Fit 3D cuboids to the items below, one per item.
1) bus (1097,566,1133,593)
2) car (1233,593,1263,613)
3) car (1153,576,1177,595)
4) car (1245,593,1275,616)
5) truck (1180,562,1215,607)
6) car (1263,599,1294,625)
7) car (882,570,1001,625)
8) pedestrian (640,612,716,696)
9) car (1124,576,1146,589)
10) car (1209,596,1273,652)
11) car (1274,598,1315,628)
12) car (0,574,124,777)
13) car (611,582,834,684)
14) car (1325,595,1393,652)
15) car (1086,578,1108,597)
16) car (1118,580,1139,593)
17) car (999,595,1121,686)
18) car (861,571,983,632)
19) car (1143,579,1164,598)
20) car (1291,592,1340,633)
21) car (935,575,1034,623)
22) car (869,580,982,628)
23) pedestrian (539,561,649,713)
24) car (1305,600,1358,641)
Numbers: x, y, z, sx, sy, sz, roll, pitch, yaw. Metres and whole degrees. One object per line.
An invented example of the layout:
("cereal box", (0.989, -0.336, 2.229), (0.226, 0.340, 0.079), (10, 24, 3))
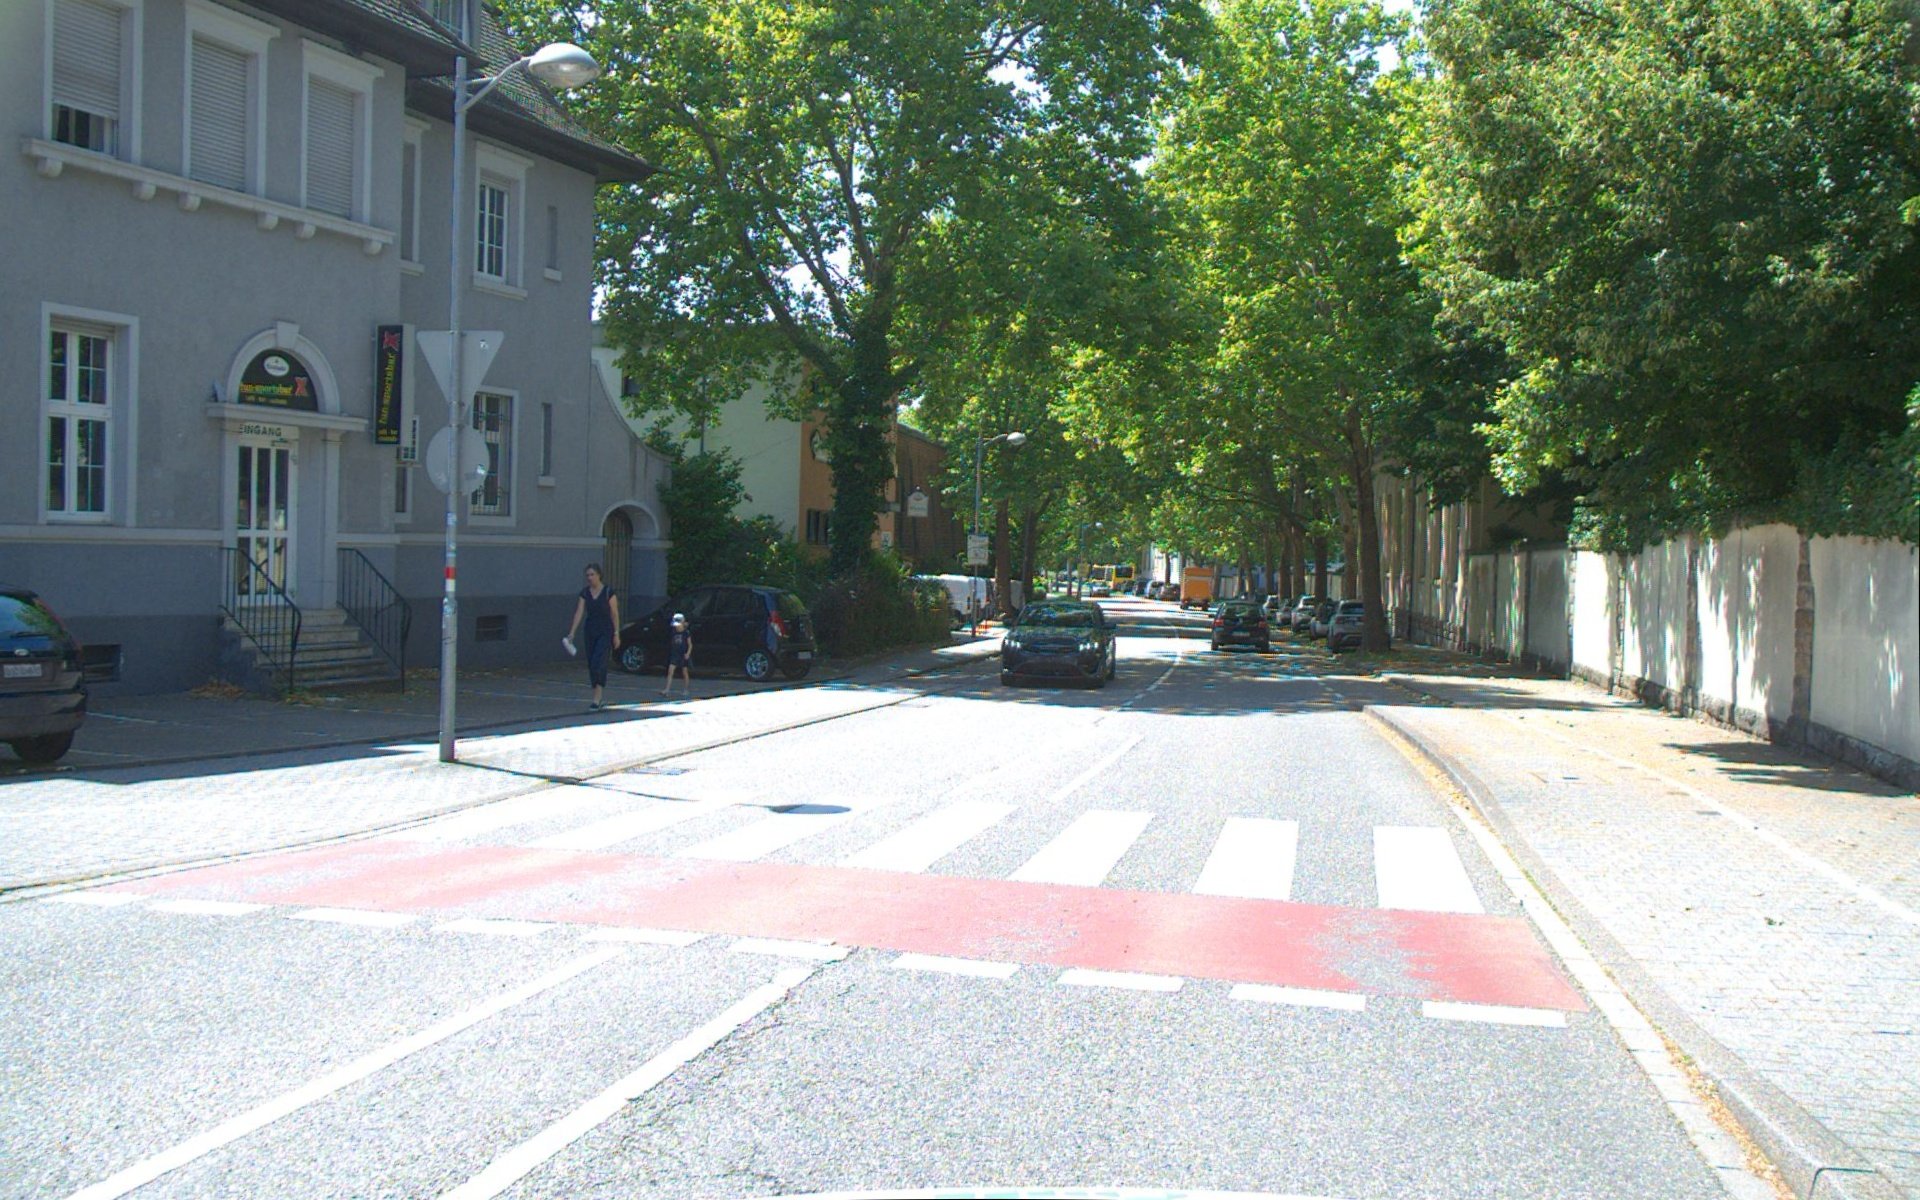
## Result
("bus", (19.024, -2.444, 204.099), (2.611, 3.205, 11.189), (1, 0, -4))
("car", (20.944, 0.226, 120.471), (1.729, 1.398, 3.732), (0, 0, 4))
("car", (19.643, -1.384, 158.342), (1.840, 1.715, 4.000), (2, -1, 1))
("car", (20.154, 0.292, 111.186), (1.729, 1.491, 3.878), (0, 0, 7))
("truck", (17.936, -1.115, 125.254), (2.320, 3.189, 5.773), (2, -1, 6))
("car", (18.922, 0.693, 98.426), (1.544, 1.491, 3.878), (0, 0, 7))
("car", (-0.697, -0.115, 64.225), (4.330, 1.835, 1.904), (3, 0, 6))
("pedestrian", (-3.962, 0.749, 23.293), (0.738, 1.141, 0.898), (1, 0, 15))
("car", (18.799, -1.845, 177.570), (1.732, 1.398, 3.726), (0, 0, -4))
("car", (8.320, 0.679, 49.247), (1.674, 1.472, 4.061), (1, 1, 7))
("car", (16.966, 0.639, 84.080), (1.729, 1.458, 3.878), (0, 0, 7))
("car", (-8.692, 0.514, 12.941), (3.701, 1.486, 1.725), (1, 0, 19))
("car", (-4.016, 0.529, 28.107), (3.311, 1.573, 1.725), (2, 0, 19))
("car", (12.117, 0.679, 50.411), (1.704, 1.584, 4.784), (0, 1, 10))
("car", (13.550, -1.227, 163.856), (1.952, 1.695, 4.001), (2, -1, 3))
("car", (18.915, -1.512, 186.102), (1.731, 1.398, 3.727), (0, 0, -4))
("car", (1.849, 0.661, 29.269), (1.731, 1.451, 4.396), (1, 0, 9))
("car", (-1.291, 0.036, 57.034), (3.903, 1.823, 1.869), (3, 0, 6))
("car", (19.320, -1.120, 165.532), (1.840, 1.715, 4.001), (2, -1, 4))
("car", (15.733, 0.516, 73.366), (1.769, 1.718, 4.755), (0, 0, 8))
("car", (1.097, -0.054, 71.905), (4.042, 1.835, 1.904), (3, 0, 6))
("car", (-1.261, 0.134, 61.586), (3.903, 1.541, 1.869), (3, 0, 6))
("pedestrian", (-4.433, 0.439, 20.116), (0.853, 1.773, 1.113), (1, 0, 15))
("car", (13.850, 0.736, 61.870), (1.586, 1.465, 4.436), (0, 0, 8))
